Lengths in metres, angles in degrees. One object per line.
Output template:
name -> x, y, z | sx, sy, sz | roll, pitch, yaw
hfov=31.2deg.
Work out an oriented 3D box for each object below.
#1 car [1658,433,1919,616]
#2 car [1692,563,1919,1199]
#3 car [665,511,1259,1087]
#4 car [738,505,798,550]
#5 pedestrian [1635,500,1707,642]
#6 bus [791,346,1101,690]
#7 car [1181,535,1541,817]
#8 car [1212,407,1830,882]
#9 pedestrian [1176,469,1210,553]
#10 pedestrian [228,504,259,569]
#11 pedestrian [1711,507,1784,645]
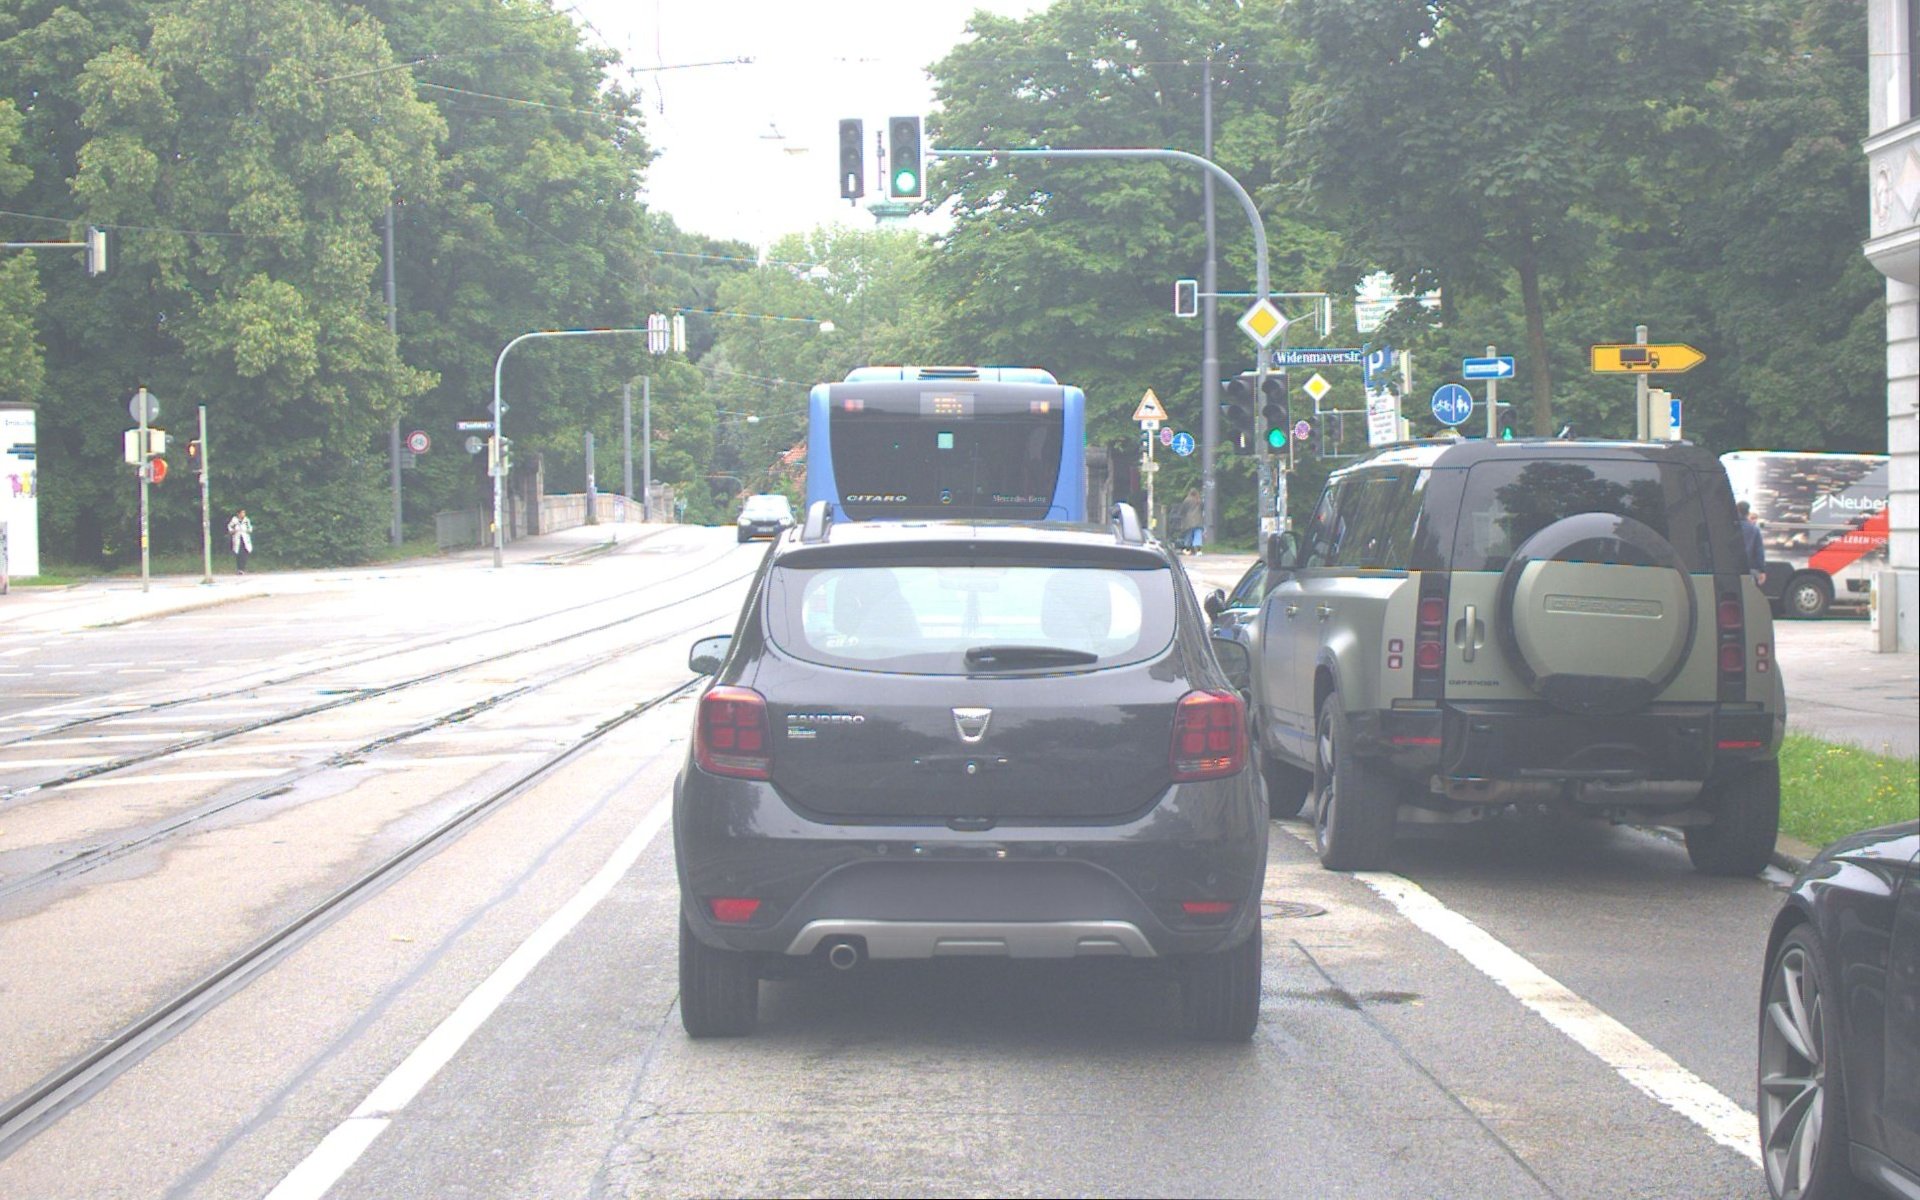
car -> 13.347, -1.100, 51.323 | 5.295, 2.603, 2.231 | 1, 1, -3
car -> 2.635, 0.677, 5.769 | 1.716, 1.421, 4.602 | 1, 1, -1
car -> -0.030, 0.521, 11.211 | 1.600, 1.551, 3.525 | 1, 1, -1
car -> -5.989, -2.264, 107.576 | 1.787, 1.365, 3.400 | 1, 1, -2
pedestrian -> 9.245, -0.379, 44.738 | 0.705, 1.810, 0.870 | 1, 1, -1
bus -> -0.271, -0.777, 33.834 | 2.678, 2.987, 6.962 | 1, 1, -2
car -> 2.442, 0.403, 21.897 | 1.714, 1.586, 4.327 | 1, 1, -1
car -> 2.466, 0.147, 16.417 | 1.914, 1.899, 4.808 | 1, 1, -3
pedestrian -> 5.913, -2.268, 87.177 | 0.762, 2.109, 0.853 | -1, 1, 0
pedestrian -> -16.699, -1.483, 80.146 | 0.532, 1.496, 0.588 | 1, 1, 4
pedestrian -> 10.076, -0.312, 44.004 | 0.705, 1.726, 0.843 | 1, 1, -1
